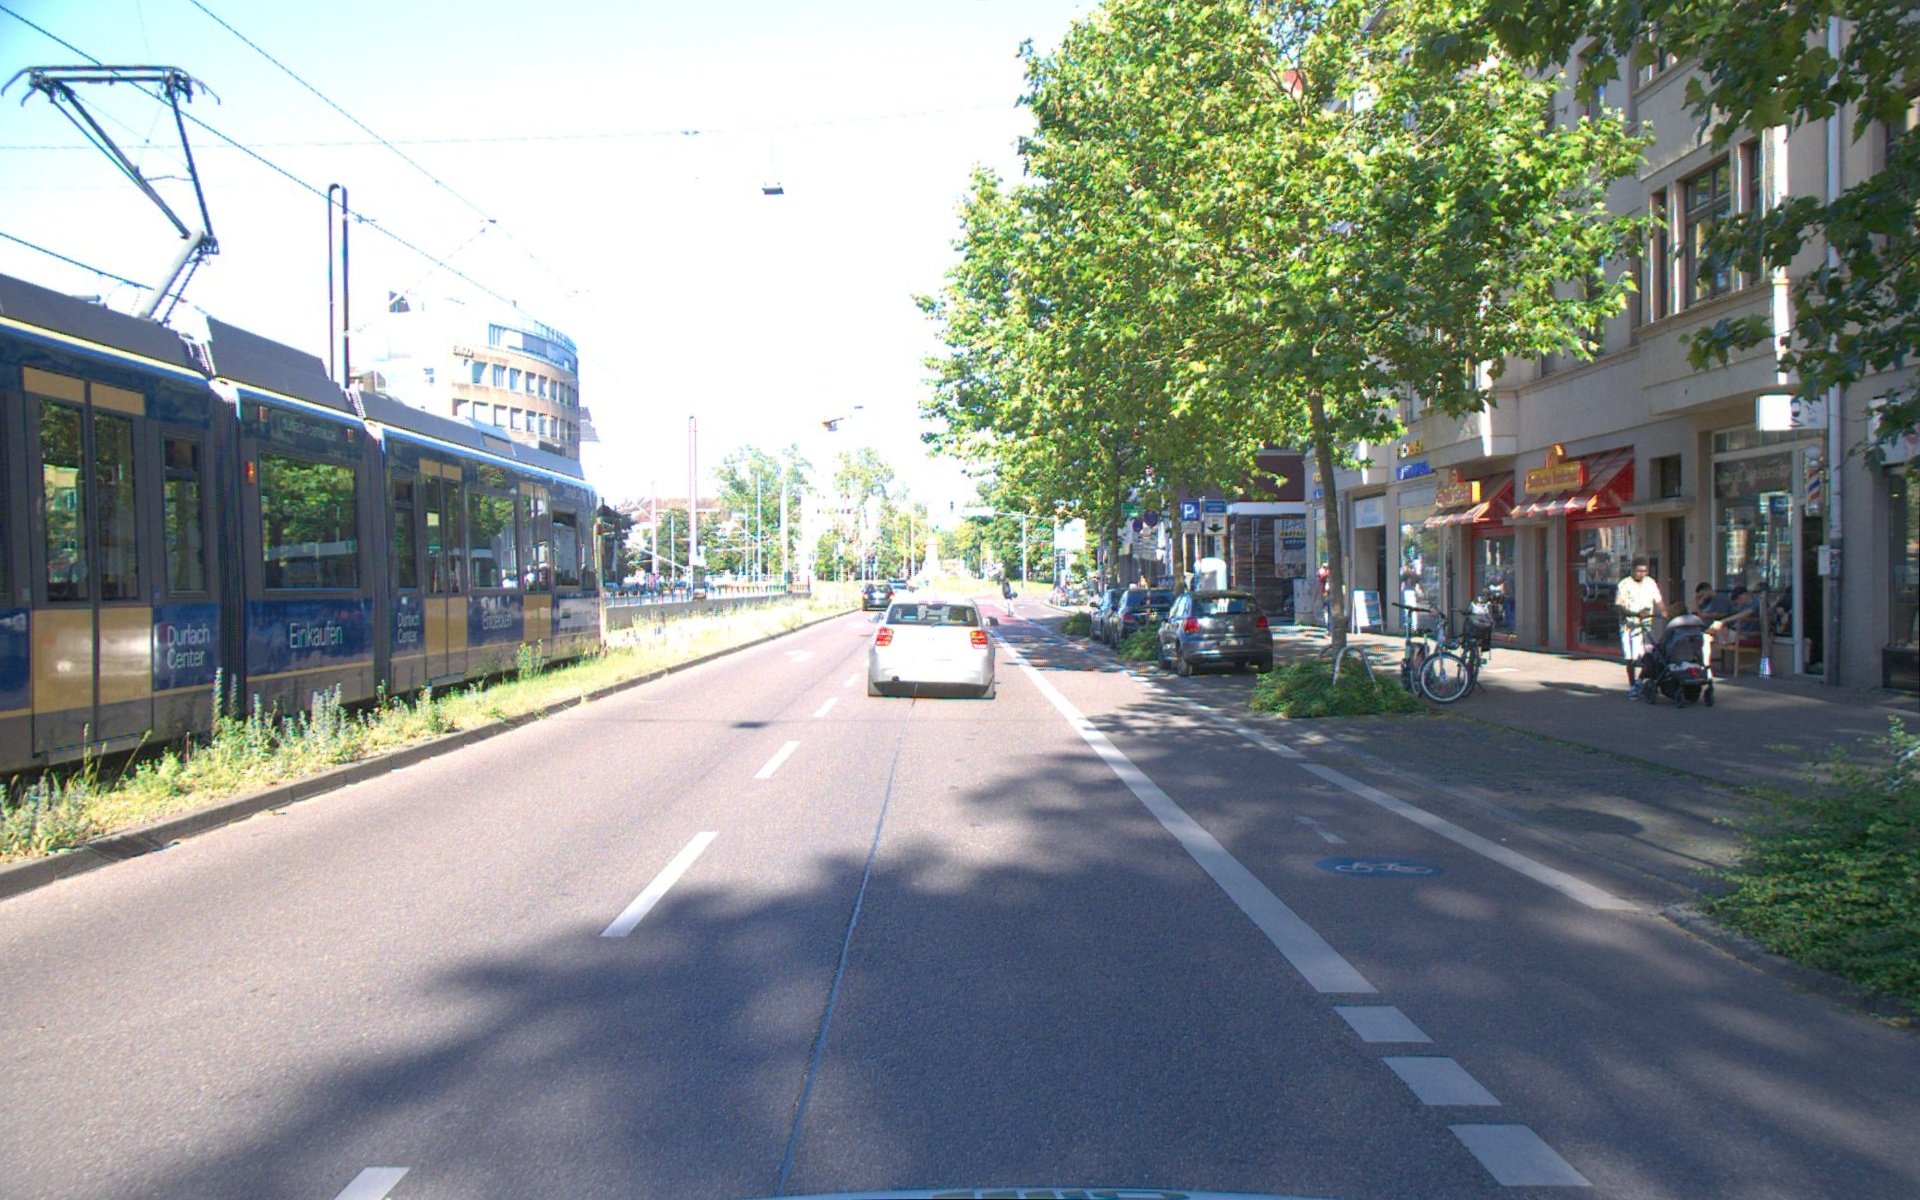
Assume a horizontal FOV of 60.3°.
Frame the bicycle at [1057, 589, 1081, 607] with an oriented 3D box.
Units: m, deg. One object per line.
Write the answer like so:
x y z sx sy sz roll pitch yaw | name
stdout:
6.808 -0.132 103.332 1.435 1.086 0.257 -1 0 1 | bicycle

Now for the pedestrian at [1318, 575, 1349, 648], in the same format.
8.983 0.272 39.753 0.546 1.741 0.770 -1 0 -1 | pedestrian

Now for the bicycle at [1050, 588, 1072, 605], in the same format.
6.619 -0.212 108.366 1.435 1.086 0.257 -1 0 1 | bicycle

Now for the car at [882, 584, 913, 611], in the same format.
-3.519 -0.156 93.712 1.611 1.446 4.000 1 0 -1 | car

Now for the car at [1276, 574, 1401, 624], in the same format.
13.995 -0.043 61.316 4.211 1.819 1.995 0 0 -1 | car

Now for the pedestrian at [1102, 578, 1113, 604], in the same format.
11.502 -0.691 129.270 0.774 2.049 0.871 1 0 6 | pedestrian

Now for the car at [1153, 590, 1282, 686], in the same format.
4.618 0.636 30.116 1.660 1.528 3.801 -3 1 -1 | car

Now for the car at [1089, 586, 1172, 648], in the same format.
4.597 0.433 45.159 1.753 1.582 4.435 -1 0 -1 | car

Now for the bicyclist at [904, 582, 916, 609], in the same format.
-2.983 -0.289 99.364 0.605 1.599 0.684 -1 0 -12 | bicyclist

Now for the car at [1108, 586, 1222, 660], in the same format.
4.589 0.474 37.706 1.997 1.535 4.593 0 1 -1 | car

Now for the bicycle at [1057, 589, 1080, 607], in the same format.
6.805 -0.132 103.677 1.435 1.086 0.257 -1 0 1 | bicycle

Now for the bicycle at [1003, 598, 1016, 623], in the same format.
2.240 0.459 75.391 0.489 1.107 1.997 1 0 0 | bicycle

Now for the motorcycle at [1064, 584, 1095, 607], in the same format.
7.120 -0.264 98.852 1.816 1.323 0.652 -1 0 2 | motorcycle

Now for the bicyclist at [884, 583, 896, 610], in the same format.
-4.184 -0.190 98.915 0.604 1.599 0.686 1 0 1 | bicyclist

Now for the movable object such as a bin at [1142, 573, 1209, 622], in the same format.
8.705 -0.142 67.127 1.908 1.875 3.476 -1 2 -6 | movable object such as a bin

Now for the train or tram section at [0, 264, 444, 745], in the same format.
-6.997 -0.811 15.785 2.895 3.965 3.865 1 0 -1 | train or tram section

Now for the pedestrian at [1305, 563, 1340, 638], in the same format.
9.537 0.006 43.509 0.699 1.933 0.863 -1 0 -1 | pedestrian

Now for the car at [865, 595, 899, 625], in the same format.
-4.033 0.480 85.644 1.692 1.496 4.408 0 0 -3 | car

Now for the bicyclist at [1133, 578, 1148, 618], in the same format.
7.658 -0.091 70.229 0.588 1.719 0.598 -1 0 10 | bicyclist

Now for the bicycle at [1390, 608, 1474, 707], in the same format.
6.161 0.735 21.678 0.384 1.236 1.901 -2 -1 -4 | bicycle

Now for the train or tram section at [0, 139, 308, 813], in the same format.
-6.985 -0.716 6.750 2.868 3.878 14.274 1 0 0 | train or tram section

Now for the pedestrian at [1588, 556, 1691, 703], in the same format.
8.267 0.348 20.151 0.842 1.734 0.916 0 0 -3 | pedestrian

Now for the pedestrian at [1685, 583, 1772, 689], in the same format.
10.447 0.480 22.506 0.769 1.393 0.857 -1 0 0 | pedestrian

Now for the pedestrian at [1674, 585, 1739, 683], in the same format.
10.554 0.471 23.391 0.524 1.355 0.820 -1 0 0 | pedestrian

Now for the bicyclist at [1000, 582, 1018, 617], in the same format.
2.229 -0.022 75.458 0.769 1.558 0.895 1 0 -1 | bicyclist

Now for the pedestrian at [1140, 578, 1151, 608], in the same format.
10.160 -0.394 90.644 0.561 1.610 0.556 -1 0 0 | pedestrian

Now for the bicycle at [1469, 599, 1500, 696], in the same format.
6.992 0.607 22.062 0.377 1.228 1.874 -1 0 17 | bicycle

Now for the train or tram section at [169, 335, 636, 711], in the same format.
-7.042 -0.856 23.149 2.892 3.965 10.801 1 0 -1 | train or tram section

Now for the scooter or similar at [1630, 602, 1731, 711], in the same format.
8.345 0.637 19.186 0.729 1.192 0.848 -3 0 -4 | scooter or similar

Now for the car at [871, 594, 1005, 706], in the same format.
-0.329 0.659 23.864 1.761 1.439 3.999 1 0 -1 | car
